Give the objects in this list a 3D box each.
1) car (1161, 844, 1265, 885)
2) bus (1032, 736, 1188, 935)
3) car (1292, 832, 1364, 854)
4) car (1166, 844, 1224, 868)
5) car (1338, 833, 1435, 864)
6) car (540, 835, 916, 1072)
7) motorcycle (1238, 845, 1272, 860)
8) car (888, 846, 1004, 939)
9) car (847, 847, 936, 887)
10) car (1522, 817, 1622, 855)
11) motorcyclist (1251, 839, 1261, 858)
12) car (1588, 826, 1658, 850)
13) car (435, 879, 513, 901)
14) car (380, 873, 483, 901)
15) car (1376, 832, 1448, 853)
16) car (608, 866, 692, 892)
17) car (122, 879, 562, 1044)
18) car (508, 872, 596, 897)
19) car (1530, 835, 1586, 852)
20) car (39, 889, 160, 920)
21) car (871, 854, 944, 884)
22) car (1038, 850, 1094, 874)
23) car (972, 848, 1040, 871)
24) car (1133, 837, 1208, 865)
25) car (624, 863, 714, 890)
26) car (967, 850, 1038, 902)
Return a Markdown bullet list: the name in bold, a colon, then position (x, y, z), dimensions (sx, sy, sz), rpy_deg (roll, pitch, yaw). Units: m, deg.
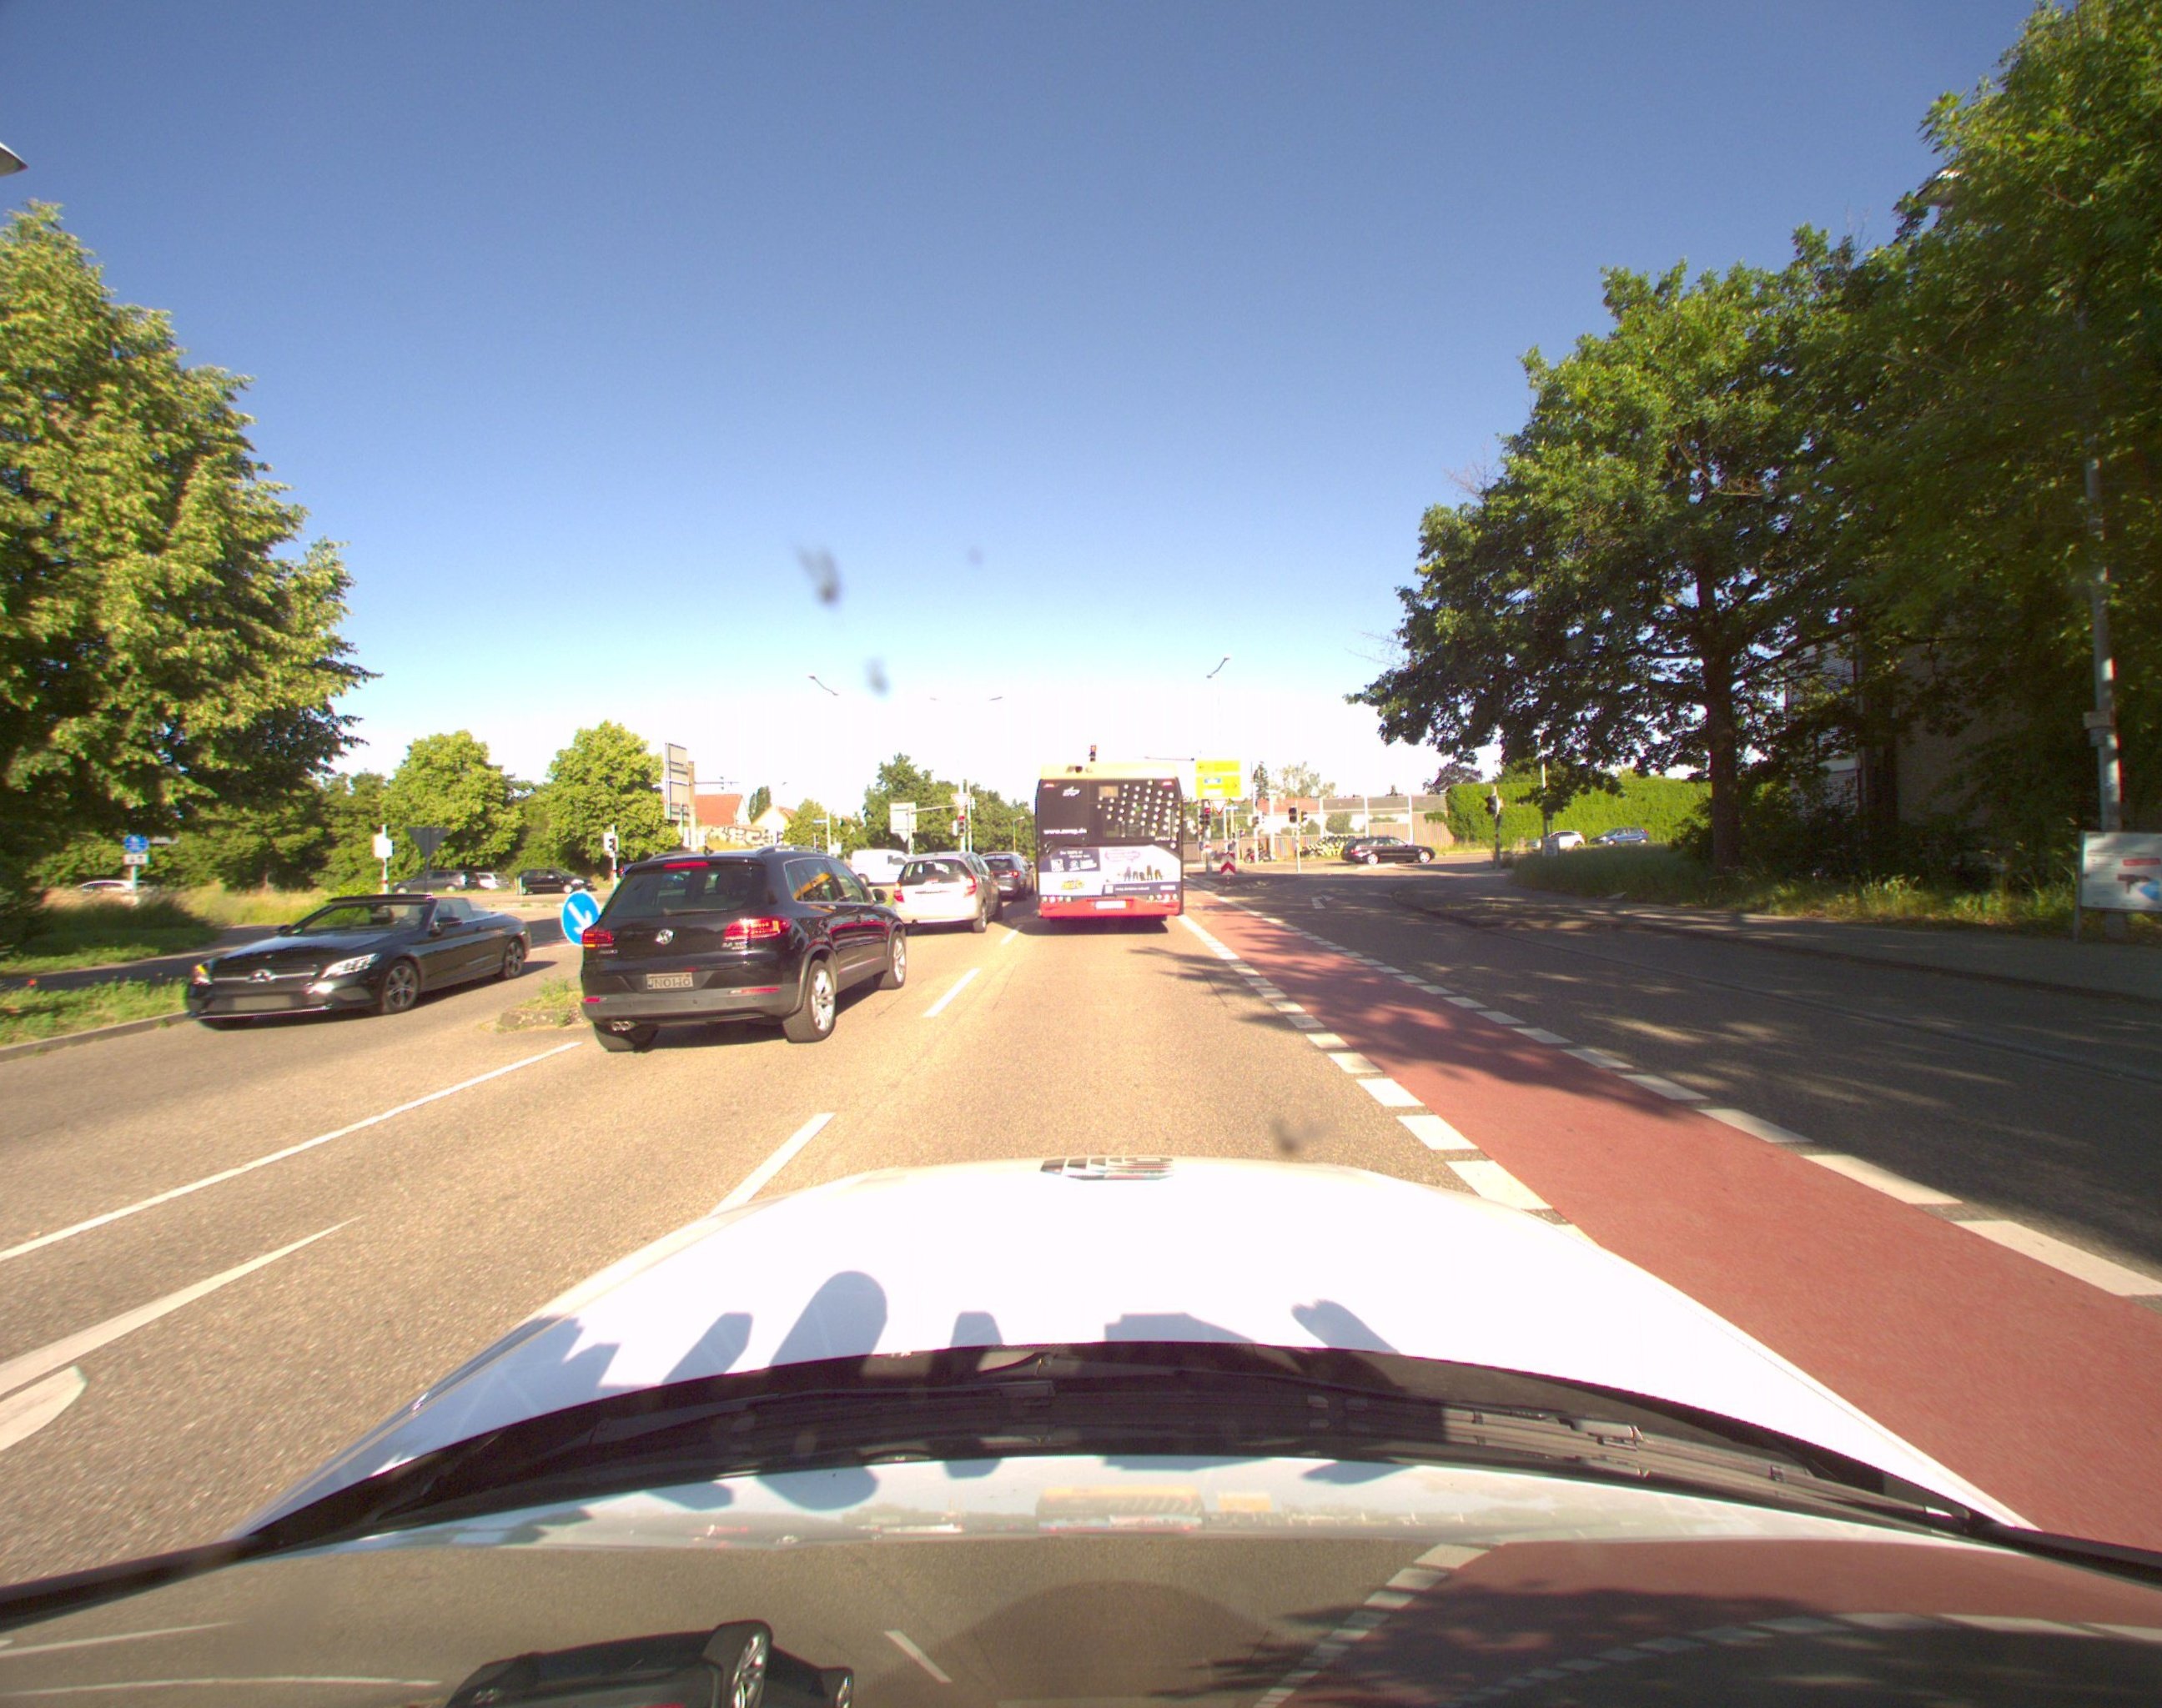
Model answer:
- **car**: position (4.697, 0.361, 28.992), dimensions (3.500, 1.302, 1.579), rpy_deg (-2, 1, 10)
- **bus**: position (0.697, -0.345, 19.786), dimensions (2.586, 3.334, 11.989), rpy_deg (-1, 0, 2)
- **car**: position (15.772, -0.673, 52.169), dimensions (4.148, 1.302, 1.574), rpy_deg (-1, -1, -2)
- **car**: position (8.347, 0.117, 59.915), dimensions (3.979, 1.612, 1.693), rpy_deg (-2, 0, -4)
- **car**: position (16.084, -0.286, 42.970), dimensions (4.450, 1.441, 1.681), rpy_deg (-3, 0, -2)
- **car**: position (-3.047, 0.765, 8.085), dimensions (1.814, 1.673, 4.004), rpy_deg (-3, -1, 2)
- **motorcycle**: position (11.911, -0.088, 55.825), dimensions (2.185, 0.874, 0.451), rpy_deg (-3, -1, -4)
- **car**: position (-2.681, 0.691, 17.097), dimensions (1.748, 1.620, 4.032), rpy_deg (-2, 1, -1)
- **car**: position (-9.477, 0.650, 40.937), dimensions (4.104, 1.801, 1.455), rpy_deg (-2, -1, -5)
- **car**: position (18.163, -0.649, 30.124), dimensions (3.412, 1.296, 1.449), rpy_deg (-1, -1, -24)
- **motorcyclist**: position (11.997, -0.394, 55.838), dimensions (0.583, 1.273, 0.426), rpy_deg (-1, -1, -4)
- **car**: position (38.489, -1.132, 57.873), dimensions (3.980, 1.553, 1.693), rpy_deg (-1, -1, -5)
- **car**: position (-40.329, 2.394, 54.141), dimensions (3.838, 1.340, 1.680), rpy_deg (-1, -1, -4)
- **car**: position (-40.449, 2.049, 50.810), dimensions (4.693, 1.540, 1.997), rpy_deg (-2, 0, -4)
- **car**: position (22.757, -0.803, 56.057), dimensions (4.277, 1.302, 1.574), rpy_deg (-2, 0, -2)
- **car**: position (-24.506, 1.423, 46.366), dimensions (3.842, 1.385, 1.678), rpy_deg (-1, -1, -7)
- **car**: position (-9.181, 1.185, 10.838), dimensions (1.993, 1.403, 4.575), rpy_deg (-5, 1, -8)
- **car**: position (-29.646, 1.714, 45.689), dimensions (3.842, 1.313, 1.504), rpy_deg (-1, -1, -7)
- **car**: position (37.217, -0.819, 63.546), dimensions (3.571, 1.265, 1.353), rpy_deg (-2, 0, 0)
- **car**: position (-58.624, 3.002, 48.729), dimensions (4.390, 1.683, 1.703), rpy_deg (-1, -1, -15)
- **car**: position (-9.451, 0.805, 44.621), dimensions (3.664, 1.485, 1.591), rpy_deg (-2, -1, -5)
- **car**: position (-1.098, 0.579, 59.709), dimensions (3.979, 1.612, 1.693), rpy_deg (-2, 0, -4)
- **car**: position (-4.958, 0.389, 54.320), dimensions (4.402, 1.459, 1.574), rpy_deg (-1, -1, -2)
- **car**: position (5.261, -0.159, 48.178), dimensions (4.211, 1.562, 1.761), rpy_deg (-1, -1, -3)
- **car**: position (-26.354, 1.441, 52.203), dimensions (4.690, 1.540, 1.998), rpy_deg (-2, 0, -2)
- **car**: position (-2.423, 0.671, 25.940), dimensions (1.581, 1.485, 3.687), rpy_deg (-2, -1, 5)
